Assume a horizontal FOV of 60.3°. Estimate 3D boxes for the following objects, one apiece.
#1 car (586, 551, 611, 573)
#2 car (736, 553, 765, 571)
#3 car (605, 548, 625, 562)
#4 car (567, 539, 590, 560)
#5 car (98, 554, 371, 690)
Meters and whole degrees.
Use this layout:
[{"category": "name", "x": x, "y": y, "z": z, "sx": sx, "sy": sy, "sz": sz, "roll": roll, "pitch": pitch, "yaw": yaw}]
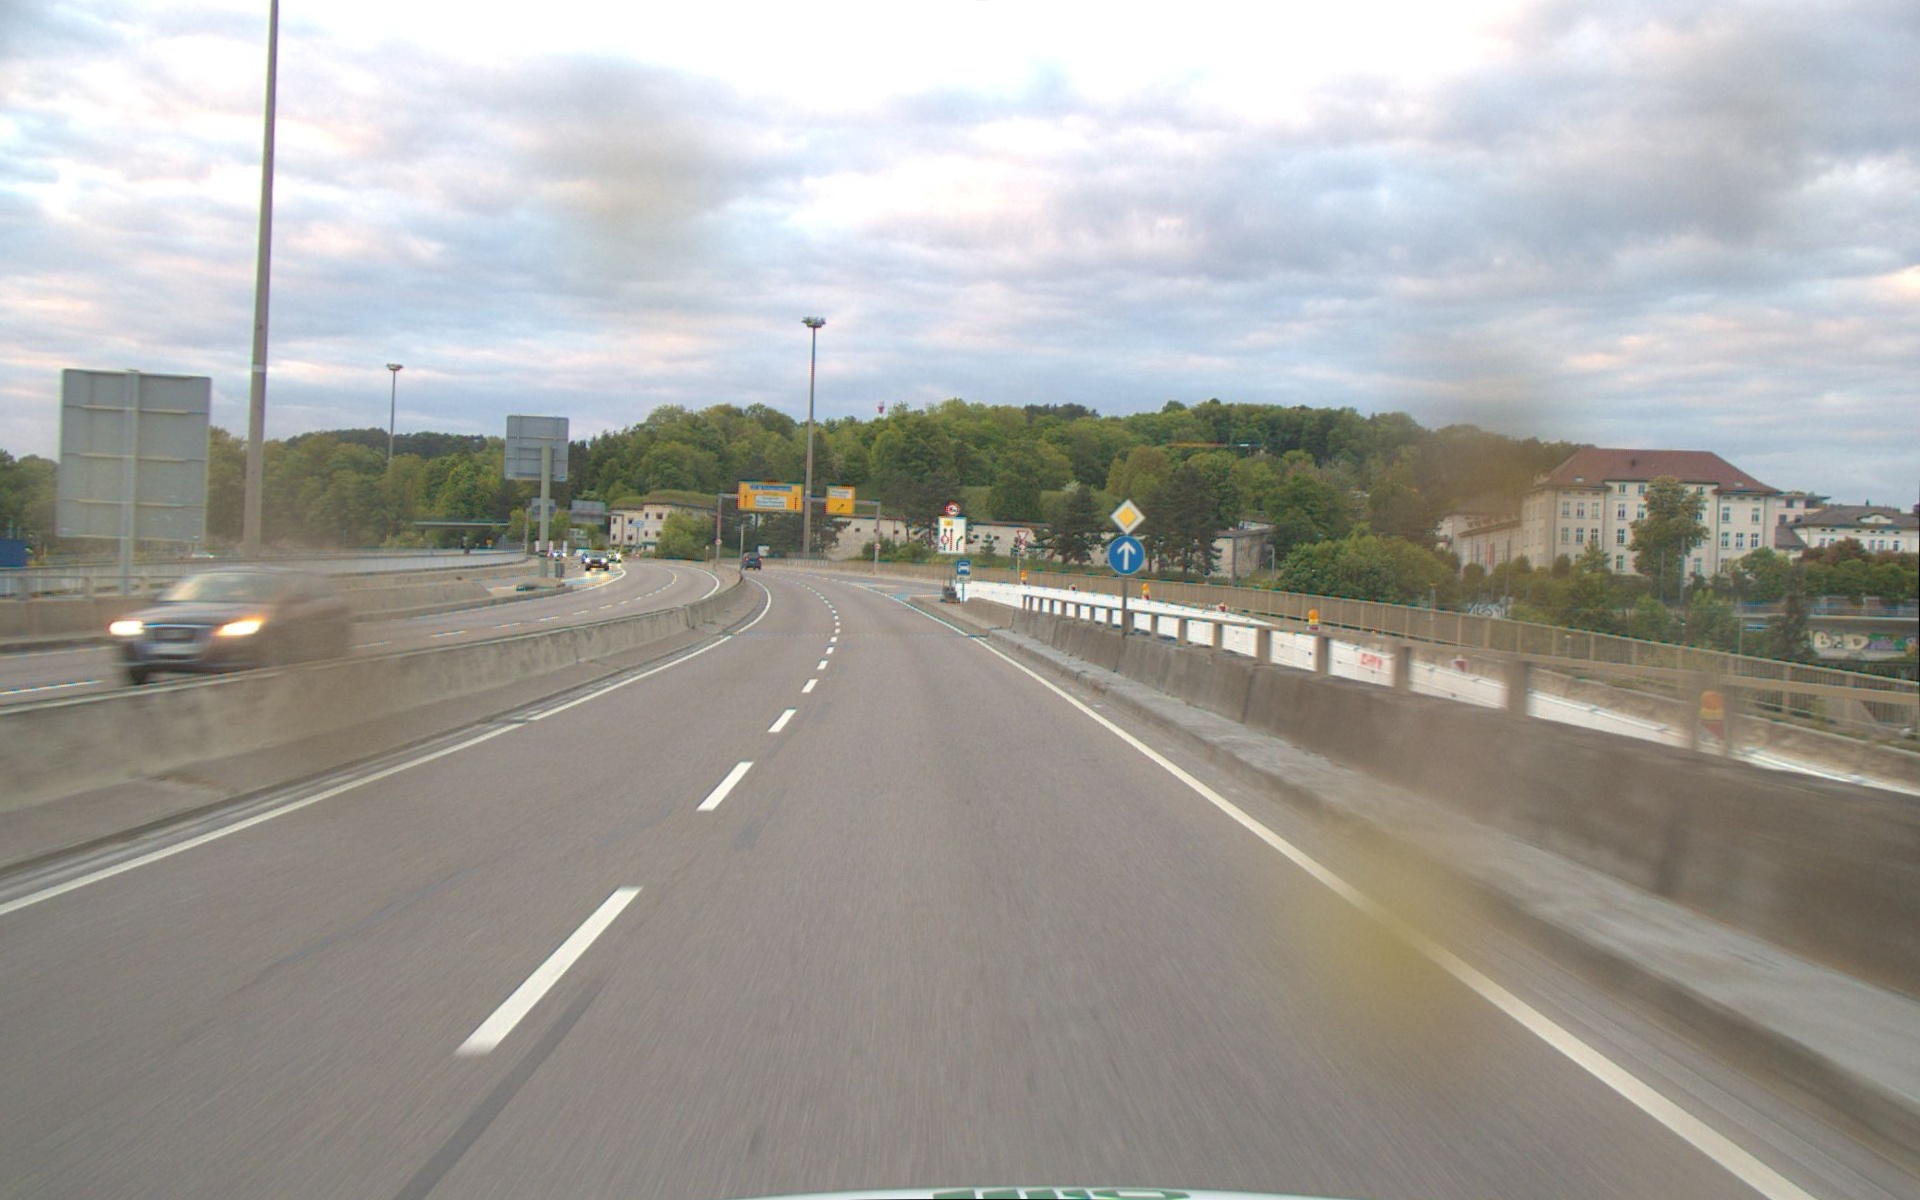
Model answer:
[{"category": "car", "x": -30.762, "y": -3.232, "z": 140.693, "sx": 1.605, "sy": 1.747, "sz": 3.994, "roll": -3, "pitch": 1, "yaw": -7}, {"category": "car", "x": -22.894, "y": -4.200, "z": 180.499, "sx": 2.270, "sy": 1.794, "sz": 4.239, "roll": 3, "pitch": 1, "yaw": -19}, {"category": "car", "x": -41.304, "y": -5.332, "z": 197.930, "sx": 1.685, "sy": 1.520, "sz": 4.058, "roll": 3, "pitch": 0, "yaw": -19}, {"category": "car", "x": -41.768, "y": -5.554, "z": 181.094, "sx": 1.959, "sy": 2.047, "sz": 3.991, "roll": 7, "pitch": 0, "yaw": -10}, {"category": "car", "x": -9.027, "y": 0.251, "z": 20.998, "sx": 1.793, "sy": 1.506, "sz": 4.284, "roll": 1, "pitch": 0, "yaw": -4}]
